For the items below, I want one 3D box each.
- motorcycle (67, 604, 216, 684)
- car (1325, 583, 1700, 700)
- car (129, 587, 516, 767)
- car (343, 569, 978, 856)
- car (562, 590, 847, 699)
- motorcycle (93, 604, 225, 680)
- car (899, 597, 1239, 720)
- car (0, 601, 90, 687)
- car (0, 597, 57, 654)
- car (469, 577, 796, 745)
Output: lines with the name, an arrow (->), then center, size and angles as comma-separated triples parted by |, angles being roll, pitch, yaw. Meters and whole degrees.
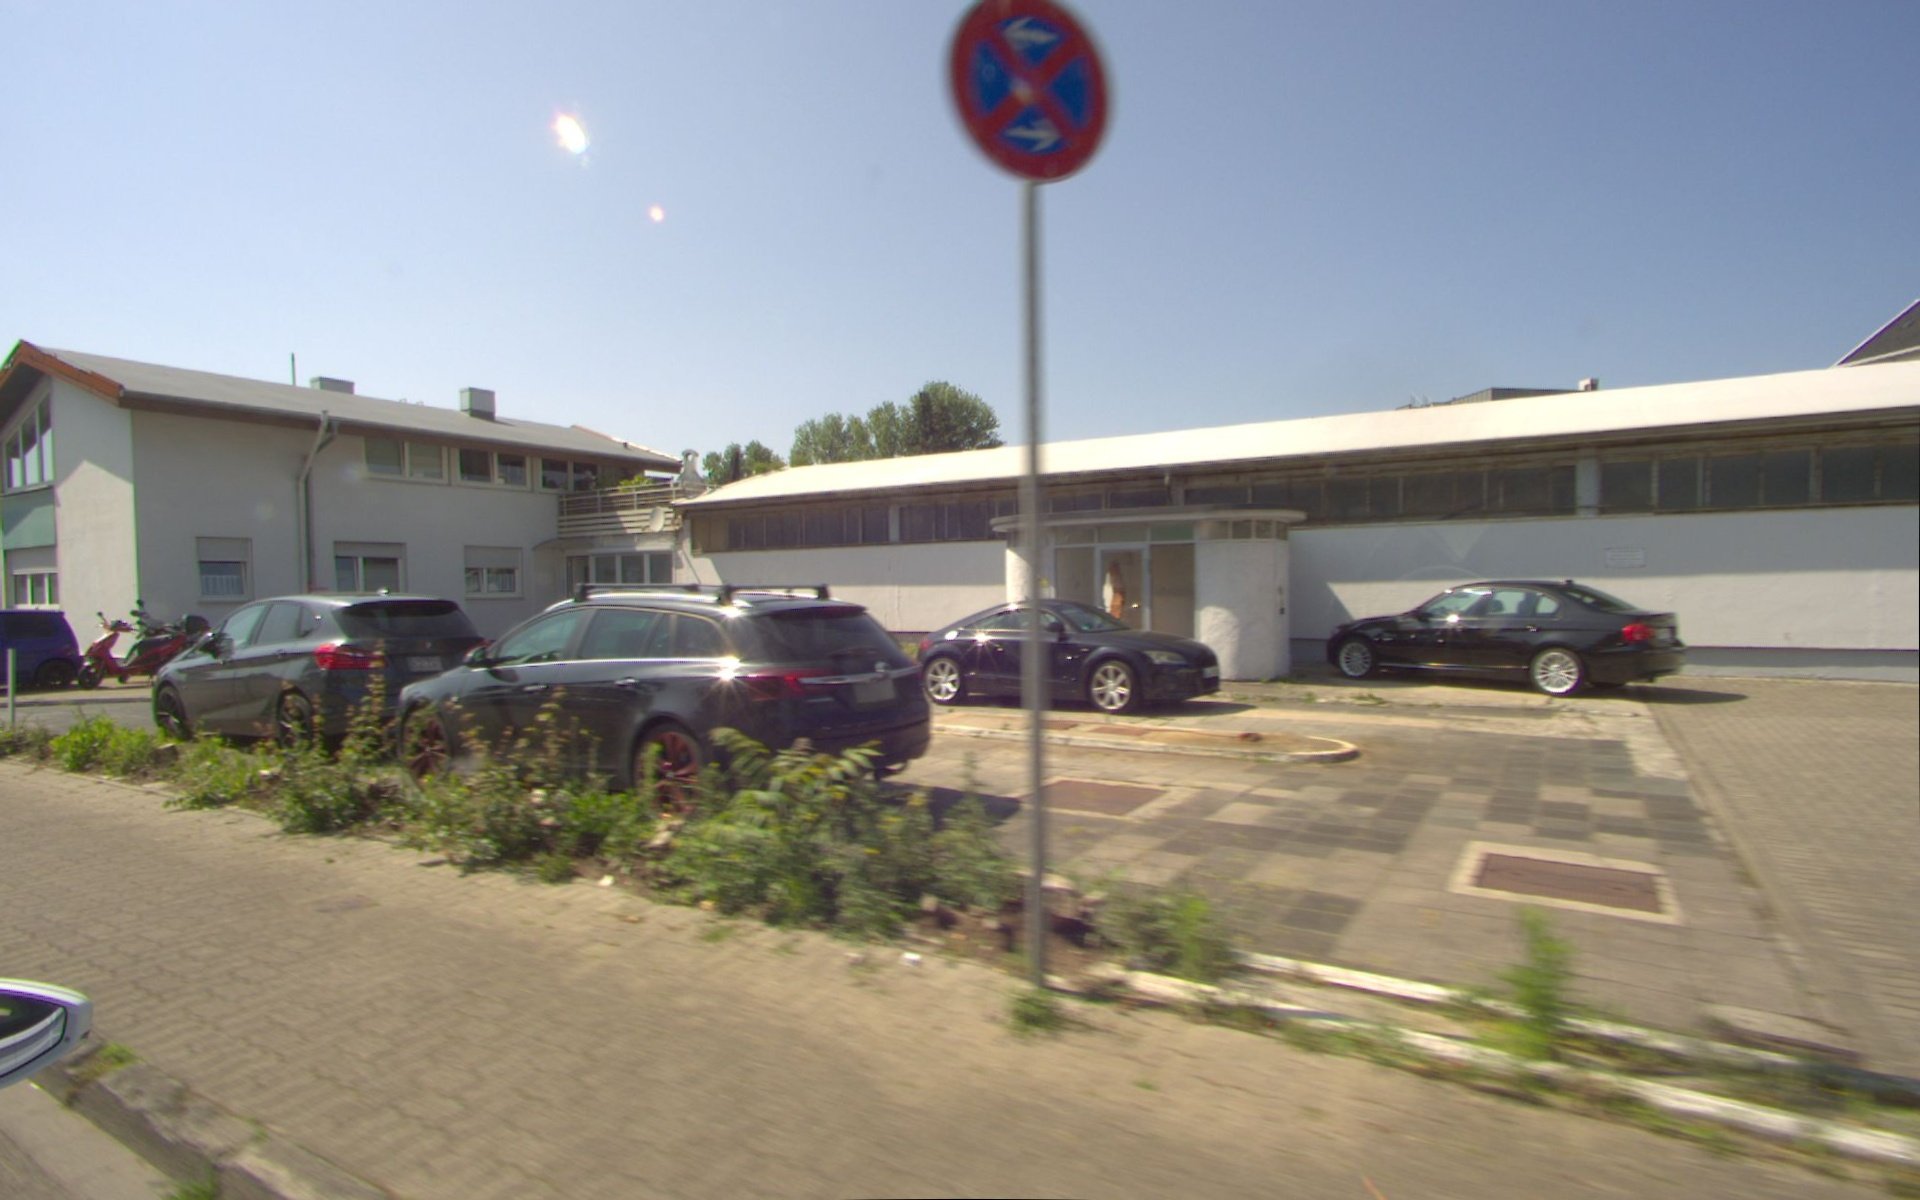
motorcycle -> -14.604, 0.752, 17.929 | 0.784, 1.297, 1.866 | 0, 2, 29
car -> 7.287, 0.469, 13.605 | 1.694, 1.342, 4.155 | -1, 1, -37
car -> -6.857, 0.672, 10.666 | 4.230, 1.579, 1.808 | 0, 1, 32
car -> -2.429, 0.624, 7.610 | 4.879, 1.589, 1.854 | 0, 1, 32
car -> -4.013, 0.650, 15.786 | 4.078, 1.516, 1.760 | -1, 2, 21
motorcycle -> -15.147, 0.762, 18.983 | 0.783, 1.297, 1.749 | 0, 2, 23
car -> 1.313, 0.650, 12.775 | 4.045, 1.342, 1.637 | 0, 1, 35
car -> -16.891, 0.743, 16.708 | 1.649, 1.417, 3.245 | 0, 1, 32
car -> -27.852, 0.734, 28.462 | 1.747, 1.561, 3.695 | -1, 1, -16
car -> -3.788, 0.633, 11.413 | 3.570, 1.615, 1.755 | 0, -2, 36
